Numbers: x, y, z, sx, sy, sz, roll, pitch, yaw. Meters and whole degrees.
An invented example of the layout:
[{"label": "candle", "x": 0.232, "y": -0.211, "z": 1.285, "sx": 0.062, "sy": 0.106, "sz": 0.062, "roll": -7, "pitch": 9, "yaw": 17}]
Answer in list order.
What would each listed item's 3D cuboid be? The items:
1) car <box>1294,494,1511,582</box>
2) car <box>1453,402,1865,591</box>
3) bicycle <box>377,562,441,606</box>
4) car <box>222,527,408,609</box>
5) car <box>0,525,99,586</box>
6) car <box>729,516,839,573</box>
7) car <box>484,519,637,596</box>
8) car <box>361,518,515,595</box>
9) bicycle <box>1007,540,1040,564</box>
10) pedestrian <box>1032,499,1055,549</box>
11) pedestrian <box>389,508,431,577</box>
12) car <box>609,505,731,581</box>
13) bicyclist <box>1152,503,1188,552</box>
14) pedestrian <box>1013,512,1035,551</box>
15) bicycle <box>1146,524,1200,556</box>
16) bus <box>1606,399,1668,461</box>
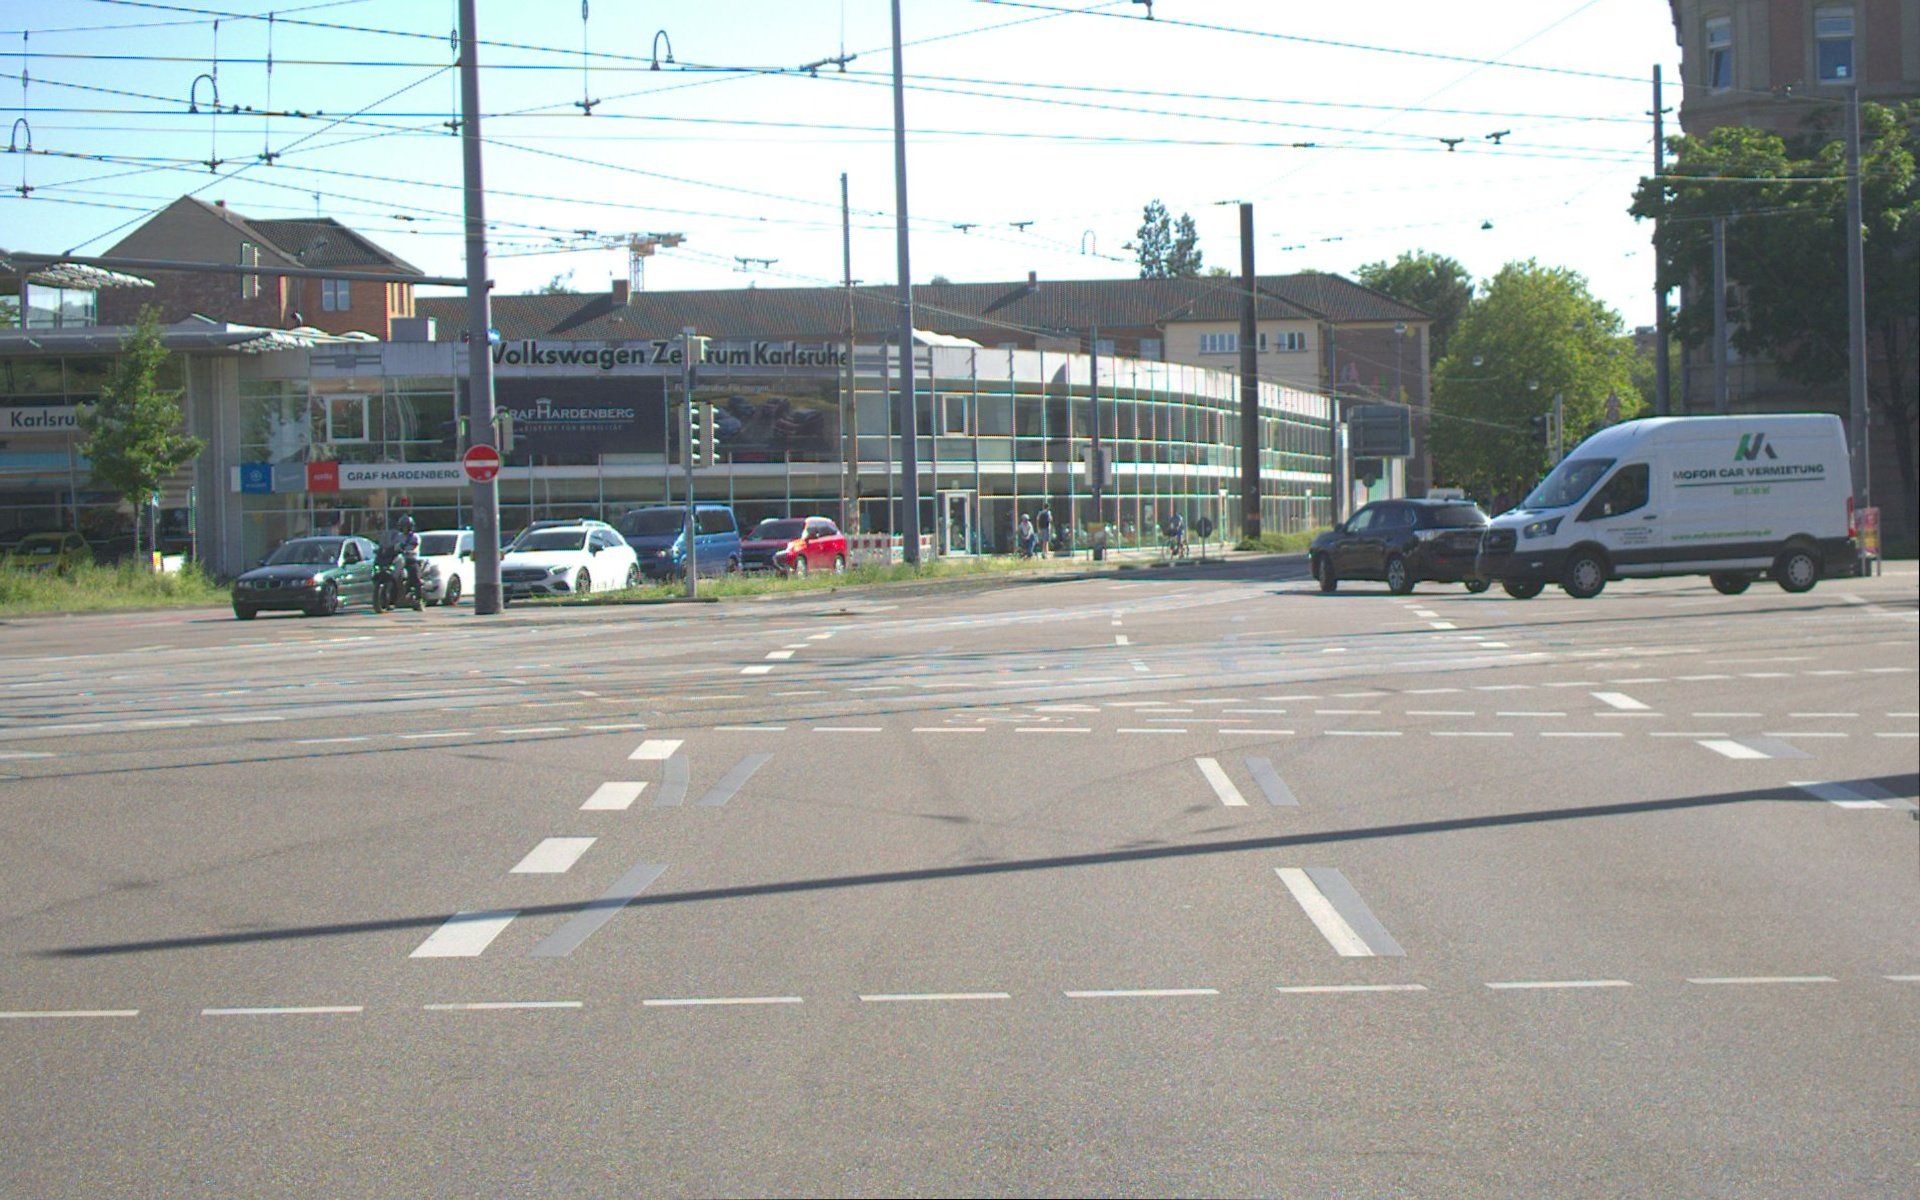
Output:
[{"label": "car", "x": 7.873, "y": -1.113, "z": 61.529, "sx": 1.699, "sy": 1.497, "sz": 4.265, "roll": -2, "pitch": 2, "yaw": -27}, {"label": "car", "x": 10.659, "y": -1.597, "z": 52.414, "sx": 5.903, "sy": 2.735, "sz": 2.145, "roll": -2, "pitch": 1, "yaw": -21}, {"label": "bicycle", "x": -9.684, "y": -0.288, "z": 60.451, "sx": 0.423, "sy": 0.715, "sz": 1.633, "roll": -1, "pitch": 1, "yaw": 17}, {"label": "car", "x": -11.379, "y": -0.584, "z": 60.900, "sx": 1.705, "sy": 1.349, "sz": 3.698, "roll": -1, "pitch": 1, "yaw": 17}, {"label": "car", "x": -26.514, "y": -1.314, "z": 99.903, "sx": 1.966, "sy": 1.700, "sz": 4.084, "roll": -1, "pitch": 1, "yaw": -1}, {"label": "car", "x": -4.381, "y": -1.406, "z": 86.107, "sx": 1.627, "sy": 1.359, "sz": 3.683, "roll": -1, "pitch": 1, "yaw": 16}, {"label": "car", "x": -7.510, "y": -0.817, "z": 64.969, "sx": 1.627, "sy": 1.377, "sz": 3.735, "roll": -1, "pitch": 1, "yaw": 14}, {"label": "car", "x": -10.108, "y": -0.864, "z": 66.851, "sx": 1.627, "sy": 1.419, "sz": 3.683, "roll": -1, "pitch": 1, "yaw": 14}, {"label": "bicycle", "x": 1.981, "y": -1.504, "z": 106.989, "sx": 0.423, "sy": 0.715, "sz": 1.473, "roll": 0, "pitch": 2, "yaw": 26}, {"label": "pedestrian", "x": 2.844, "y": -2.591, "z": 117.234, "sx": 0.543, "sy": 1.683, "sz": 0.629, "roll": 0, "pitch": 1, "yaw": 27}, {"label": "pedestrian", "x": -9.683, "y": -1.015, "z": 60.498, "sx": 0.423, "sy": 1.200, "sz": 0.749, "roll": -1, "pitch": 1, "yaw": 17}, {"label": "car", "x": -6.631, "y": -1.330, "z": 78.980, "sx": 1.627, "sy": 1.686, "sz": 3.683, "roll": -1, "pitch": 1, "yaw": 14}, {"label": "bicyclist", "x": 7.019, "y": -2.418, "z": 114.697, "sx": 0.811, "sy": 1.618, "sz": 0.927, "roll": 0, "pitch": 1, "yaw": 34}, {"label": "pedestrian", "x": 1.982, "y": -2.142, "z": 106.991, "sx": 0.423, "sy": 1.200, "sz": 0.679, "roll": 0, "pitch": 1, "yaw": 26}, {"label": "bicycle", "x": 7.142, "y": -2.012, "z": 114.970, "sx": 0.811, "sy": 1.041, "sz": 2.123, "roll": 0, "pitch": 2, "yaw": 34}, {"label": "bus", "x": 48.946, "y": -12.127, "z": 247.906, "sx": 3.839, "sy": 3.595, "sz": 24.853, "roll": 1, "pitch": 1, "yaw": 12}]
